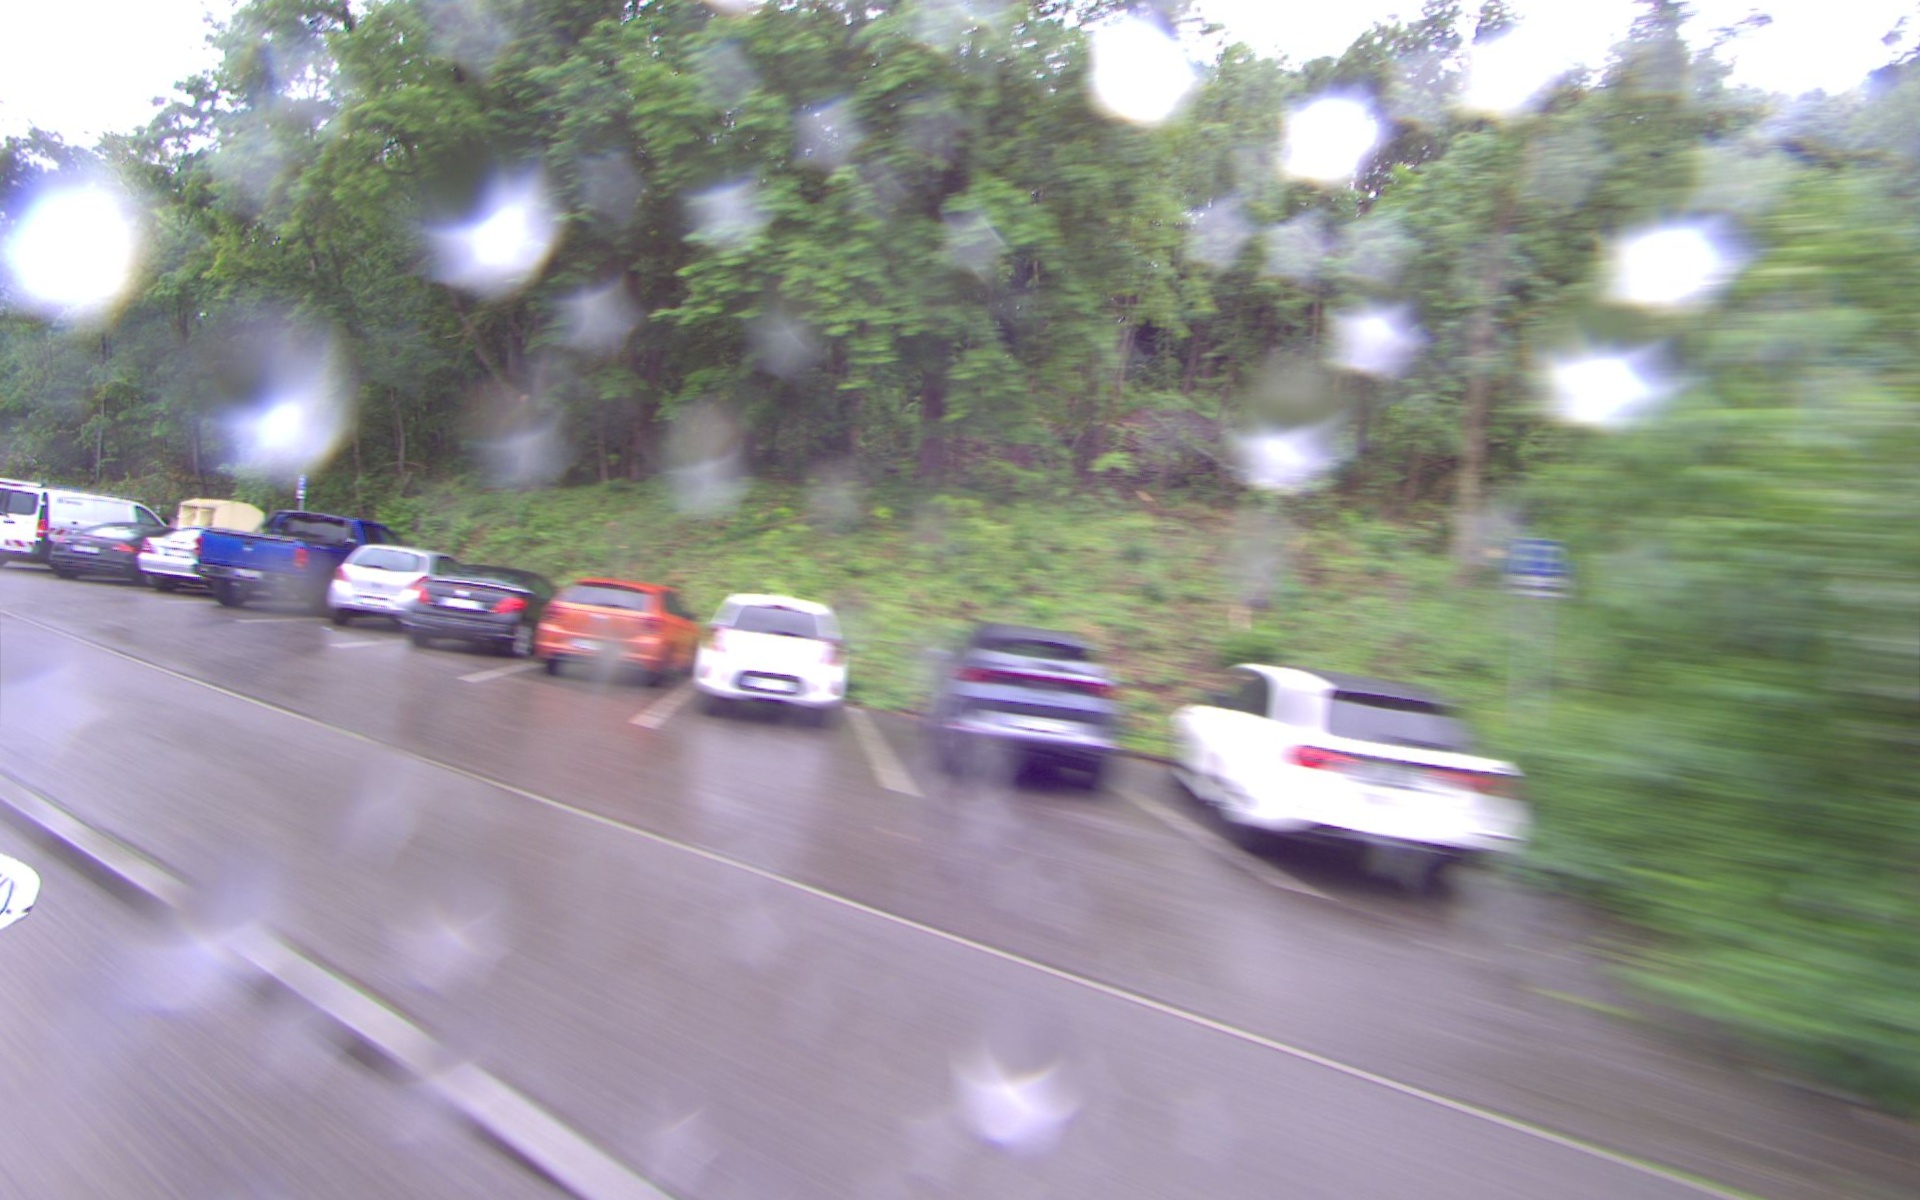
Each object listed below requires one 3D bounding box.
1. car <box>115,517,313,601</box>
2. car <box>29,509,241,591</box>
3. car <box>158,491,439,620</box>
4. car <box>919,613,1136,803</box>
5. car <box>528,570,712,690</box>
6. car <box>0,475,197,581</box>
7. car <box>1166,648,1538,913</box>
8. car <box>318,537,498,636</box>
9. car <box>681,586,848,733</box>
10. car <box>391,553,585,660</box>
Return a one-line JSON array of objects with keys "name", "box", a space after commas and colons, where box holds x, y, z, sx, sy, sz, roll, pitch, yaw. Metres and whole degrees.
[{"name": "car", "box": [-16.092, -0.805, 21.979, 1.598, 1.429, 3.991, 7, -1, -8]}, {"name": "car", "box": [-18.180, -1.030, 22.416, 1.731, 1.364, 3.794, 7, -1, -6]}, {"name": "car", "box": [-13.176, -0.760, 20.646, 2.290, 1.992, 5.479, 7, -1, -5]}, {"name": "car", "box": [0.541, 1.021, 11.242, 1.721, 1.525, 4.089, 7, -1, -4]}, {"name": "car", "box": [-5.069, 0.445, 15.527, 1.687, 1.418, 3.794, 7, -1, -5]}, {"name": "car", "box": [-20.979, -1.659, 23.909, 2.119, 1.963, 4.840, 7, -2, -5]}, {"name": "car", "box": [3.094, 1.324, 9.003, 1.778, 1.482, 4.318, 7, -1, 5]}, {"name": "car", "box": [-10.425, -0.205, 19.338, 1.591, 1.504, 3.909, 7, -1, -8]}, {"name": "car", "box": [-2.548, 0.683, 13.420, 1.723, 1.497, 3.789, 7, -1, -10]}, {"name": "car", "box": [-7.827, 0.131, 17.105, 1.687, 1.418, 3.841, 7, -1, -6]}]
